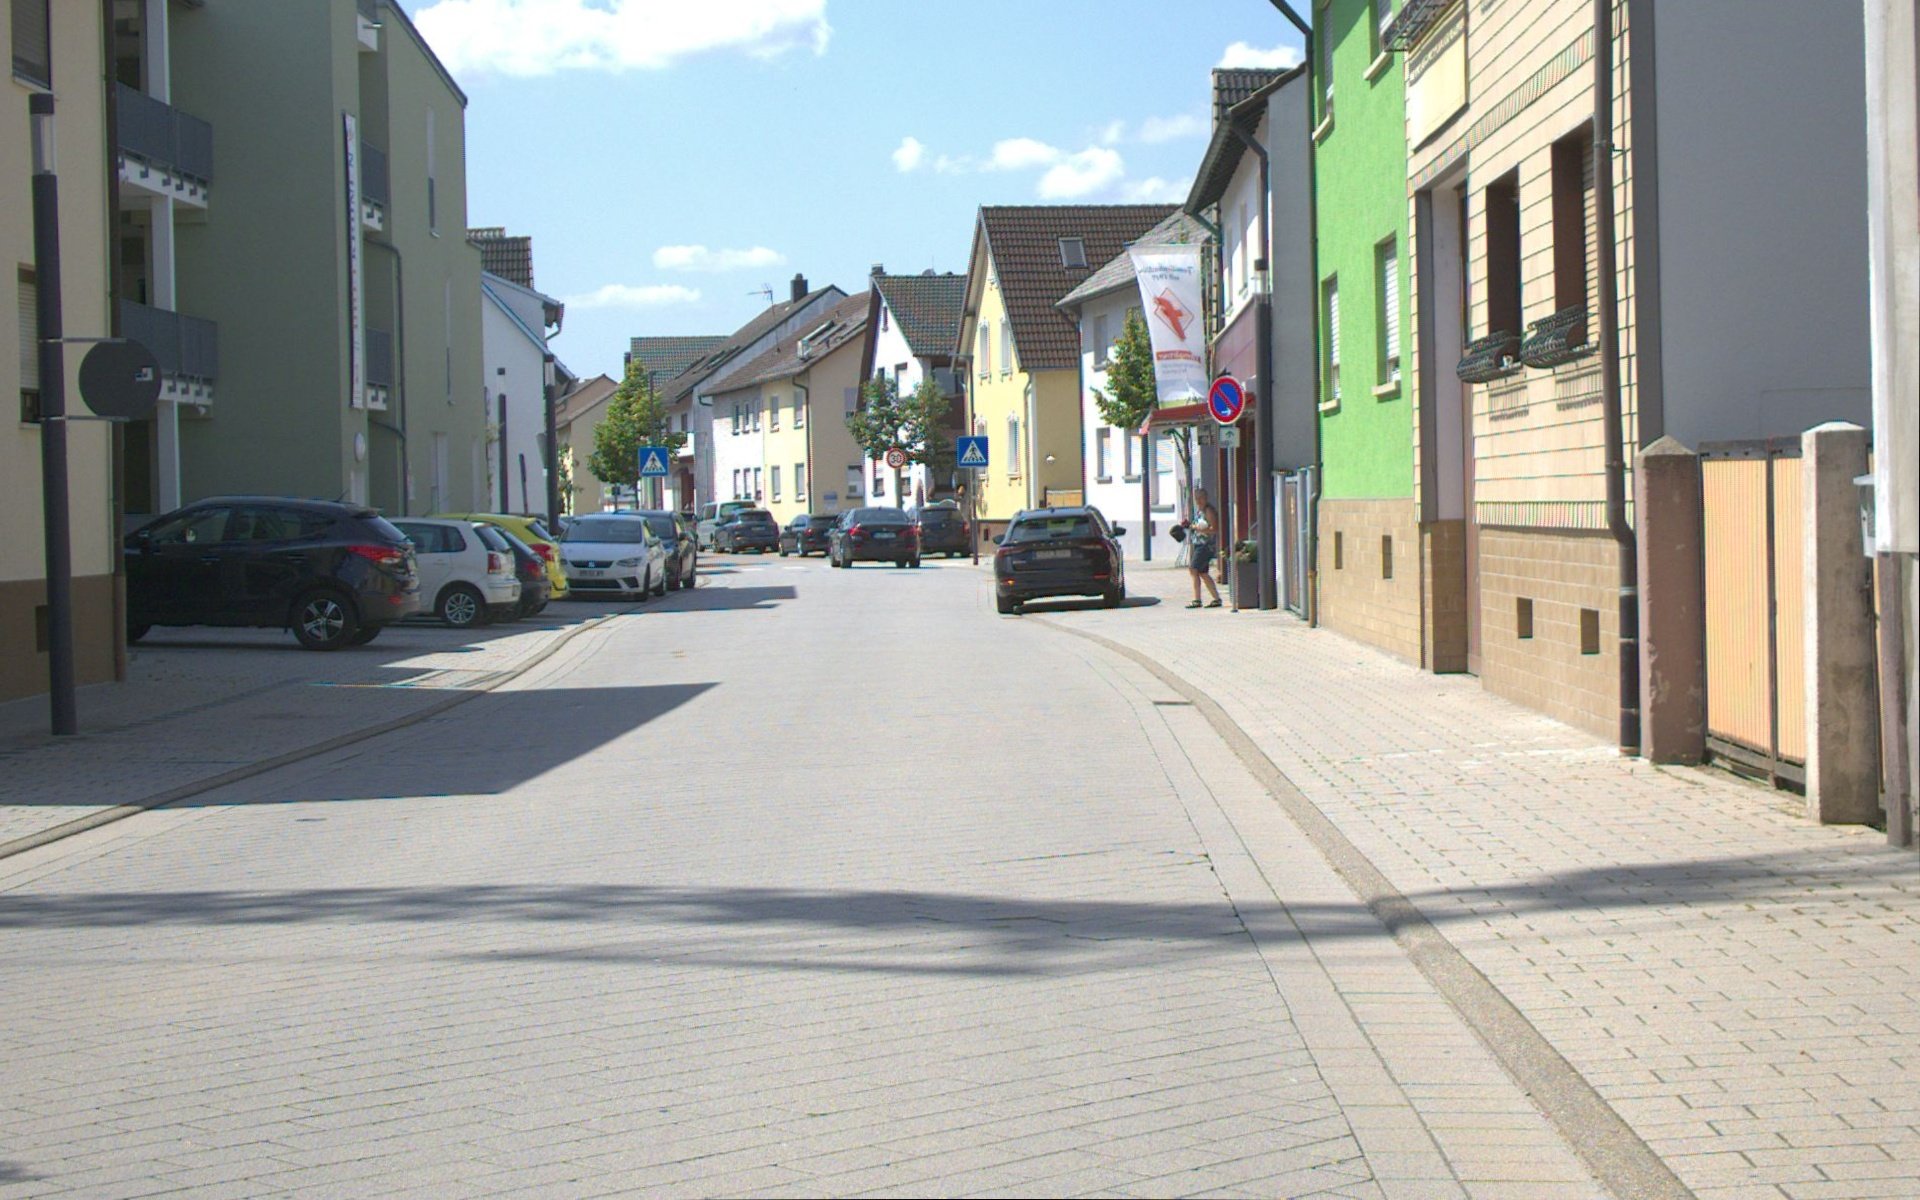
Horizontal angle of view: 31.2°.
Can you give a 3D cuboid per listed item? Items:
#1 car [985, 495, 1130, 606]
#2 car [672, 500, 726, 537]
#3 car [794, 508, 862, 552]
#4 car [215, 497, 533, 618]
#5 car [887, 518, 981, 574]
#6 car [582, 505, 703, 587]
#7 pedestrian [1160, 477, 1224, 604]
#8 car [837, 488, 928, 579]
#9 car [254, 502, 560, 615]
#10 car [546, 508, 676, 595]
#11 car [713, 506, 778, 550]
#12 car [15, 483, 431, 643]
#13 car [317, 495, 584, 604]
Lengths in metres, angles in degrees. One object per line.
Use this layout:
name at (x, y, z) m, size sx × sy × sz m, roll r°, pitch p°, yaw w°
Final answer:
car at (1.475, -0.758, 50.321) m, size 1.858 × 1.454 × 4.585 m, roll -3°, pitch 1°, yaw 4°
car at (-10.815, -3.375, 142.459) m, size 1.754 × 1.487 × 4.001 m, roll -2°, pitch 2°, yaw -11°
car at (-4.417, -2.346, 114.362) m, size 1.710 × 1.382 × 3.707 m, roll -2°, pitch 2°, yaw -11°
car at (-7.840, -0.589, 46.185) m, size 3.901 × 1.497 × 1.751 m, roll 2°, pitch 2°, yaw 3°
car at (-0.760, -1.533, 97.318) m, size 1.828 × 1.466 × 4.277 m, roll -3°, pitch 2°, yaw -11°
car at (-6.014, -1.051, 65.548) m, size 1.813 × 1.485 × 4.277 m, roll 1°, pitch 2°, yaw 1°
pedestrian at (3.104, -0.799, 45.922) m, size 0.730 × 1.634 × 0.749 m, roll -4°, pitch 1°, yaw 5°
car at (-1.885, -1.610, 81.895) m, size 1.993 × 2.050 × 4.375 m, roll -1°, pitch 2°, yaw -3°
car at (-7.757, -0.602, 48.465) m, size 3.987 × 1.436 × 1.691 m, roll 2°, pitch 1°, yaw 1°
car at (-6.003, -0.867, 59.522) m, size 1.758 × 1.406 × 3.878 m, roll 1°, pitch 2°, yaw 1°
car at (-8.002, -2.691, 127.819) m, size 1.877 × 1.585 × 4.001 m, roll -2°, pitch 2°, yaw -11°
car at (-8.164, -0.430, 38.298) m, size 4.219 × 1.652 × 1.784 m, roll 1°, pitch 1°, yaw 1°
car at (-7.590, -0.771, 51.406) m, size 3.692 × 1.520 × 1.672 m, roll 1°, pitch 2°, yaw 2°
